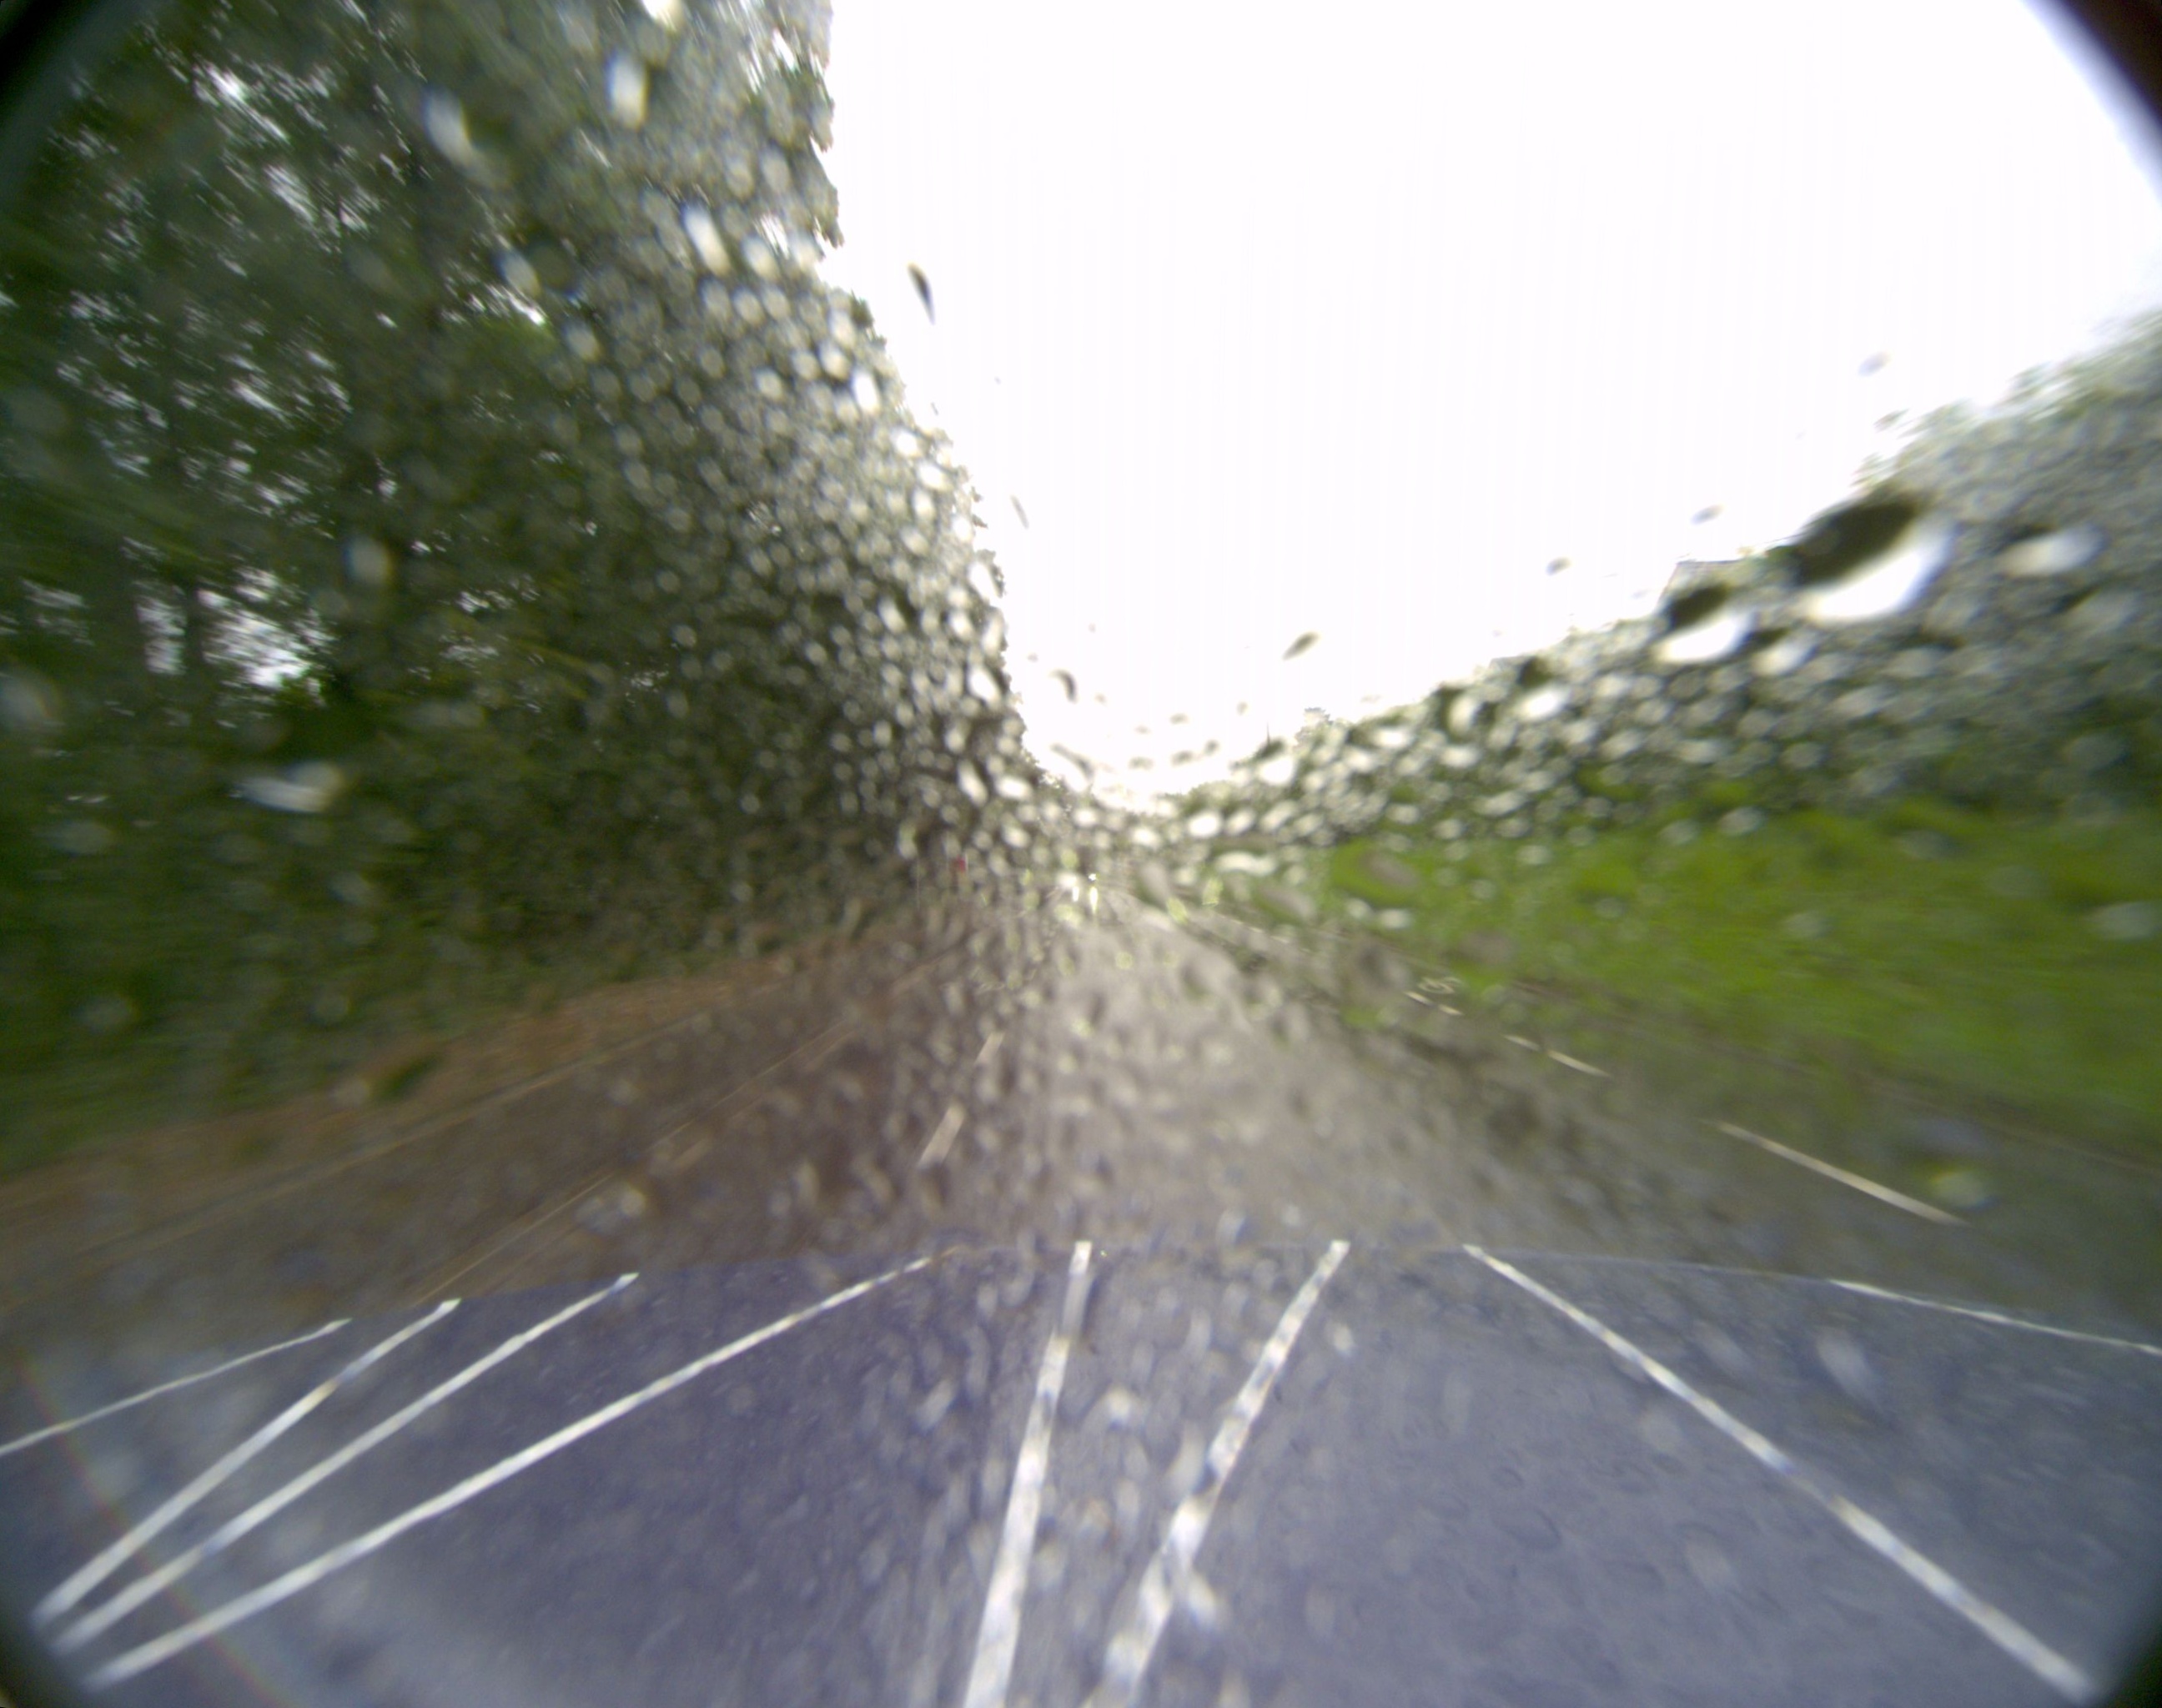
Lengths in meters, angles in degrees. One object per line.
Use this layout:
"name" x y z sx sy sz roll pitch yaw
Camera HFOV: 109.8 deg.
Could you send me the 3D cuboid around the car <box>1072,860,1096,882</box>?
"car" 0.259 1.323 61.011 1.799 1.543 4.000 -4 0 1
